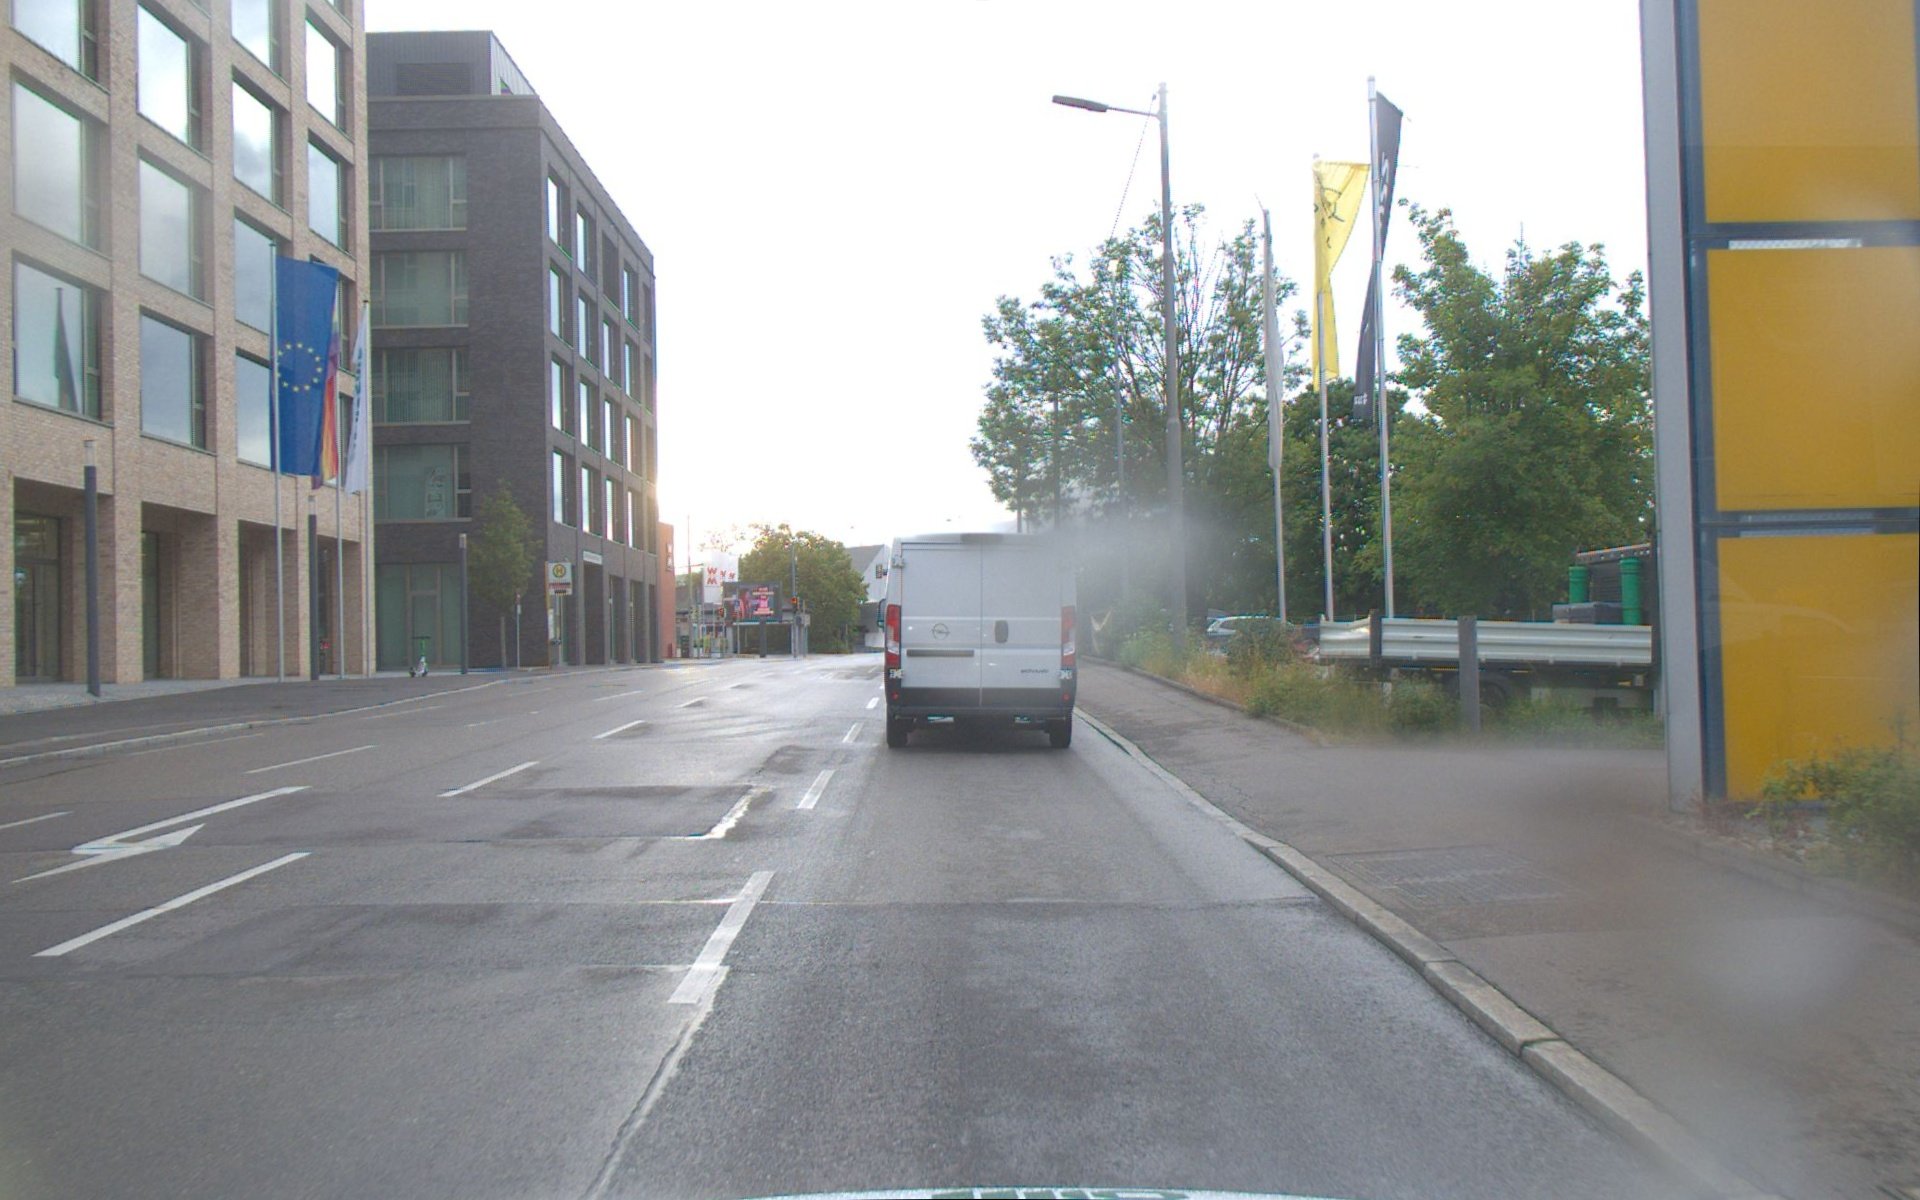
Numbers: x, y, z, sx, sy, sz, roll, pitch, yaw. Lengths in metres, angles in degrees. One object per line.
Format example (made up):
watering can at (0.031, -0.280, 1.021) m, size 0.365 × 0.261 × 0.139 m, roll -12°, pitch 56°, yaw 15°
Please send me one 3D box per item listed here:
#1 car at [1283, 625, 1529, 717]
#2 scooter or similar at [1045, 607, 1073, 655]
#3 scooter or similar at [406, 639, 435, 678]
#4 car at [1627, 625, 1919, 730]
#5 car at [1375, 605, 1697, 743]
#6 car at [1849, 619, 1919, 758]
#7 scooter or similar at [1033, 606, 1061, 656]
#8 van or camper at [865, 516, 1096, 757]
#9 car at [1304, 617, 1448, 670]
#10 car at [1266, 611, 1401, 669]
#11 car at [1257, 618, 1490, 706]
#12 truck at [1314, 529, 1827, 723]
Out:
car at (7.892, 1.241, 29.485) m, size 3.906 × 1.534 × 1.760 m, roll 0°, pitch 0°, yaw -1°
scooter or similar at (3.323, 1.036, 55.511) m, size 0.428 × 1.592 × 1.264 m, roll 0°, pitch 0°, yaw -22°
scooter or similar at (-15.419, 1.670, 47.282) m, size 0.343 × 1.090 × 1.428 m, roll -1°, pitch -2°, yaw 0°
car at (11.944, 1.109, 24.332) m, size 3.614 × 1.443 × 1.630 m, roll -1°, pitch 0°, yaw 2°
car at (7.523, 0.932, 21.812) m, size 3.618 × 1.700 × 1.735 m, roll -1°, pitch 0°, yaw -5°
car at (12.594, 0.990, 19.292) m, size 3.615 × 1.546 × 1.557 m, roll -1°, pitch 0°, yaw 0°
scooter or similar at (2.915, 1.027, 55.328) m, size 0.428 × 1.615 × 1.264 m, roll 0°, pitch 0°, yaw -23°
van or camper at (0.206, 0.358, 19.131) m, size 2.292 × 2.398 × 5.199 m, roll 0°, pitch 0°, yaw 0°
car at (12.702, 1.316, 50.651) m, size 3.910 × 1.548 × 1.801 m, roll -1°, pitch 0°, yaw -6°
car at (12.371, 1.311, 54.911) m, size 3.911 × 1.548 × 1.801 m, roll -5°, pitch 0°, yaw -6°
car at (7.924, 1.173, 31.934) m, size 4.045 × 1.617 × 1.760 m, roll 0°, pitch 0°, yaw -1°
truck at (6.875, 0.265, 19.059) m, size 5.045 × 2.049 × 2.344 m, roll 0°, pitch 0°, yaw -3°
